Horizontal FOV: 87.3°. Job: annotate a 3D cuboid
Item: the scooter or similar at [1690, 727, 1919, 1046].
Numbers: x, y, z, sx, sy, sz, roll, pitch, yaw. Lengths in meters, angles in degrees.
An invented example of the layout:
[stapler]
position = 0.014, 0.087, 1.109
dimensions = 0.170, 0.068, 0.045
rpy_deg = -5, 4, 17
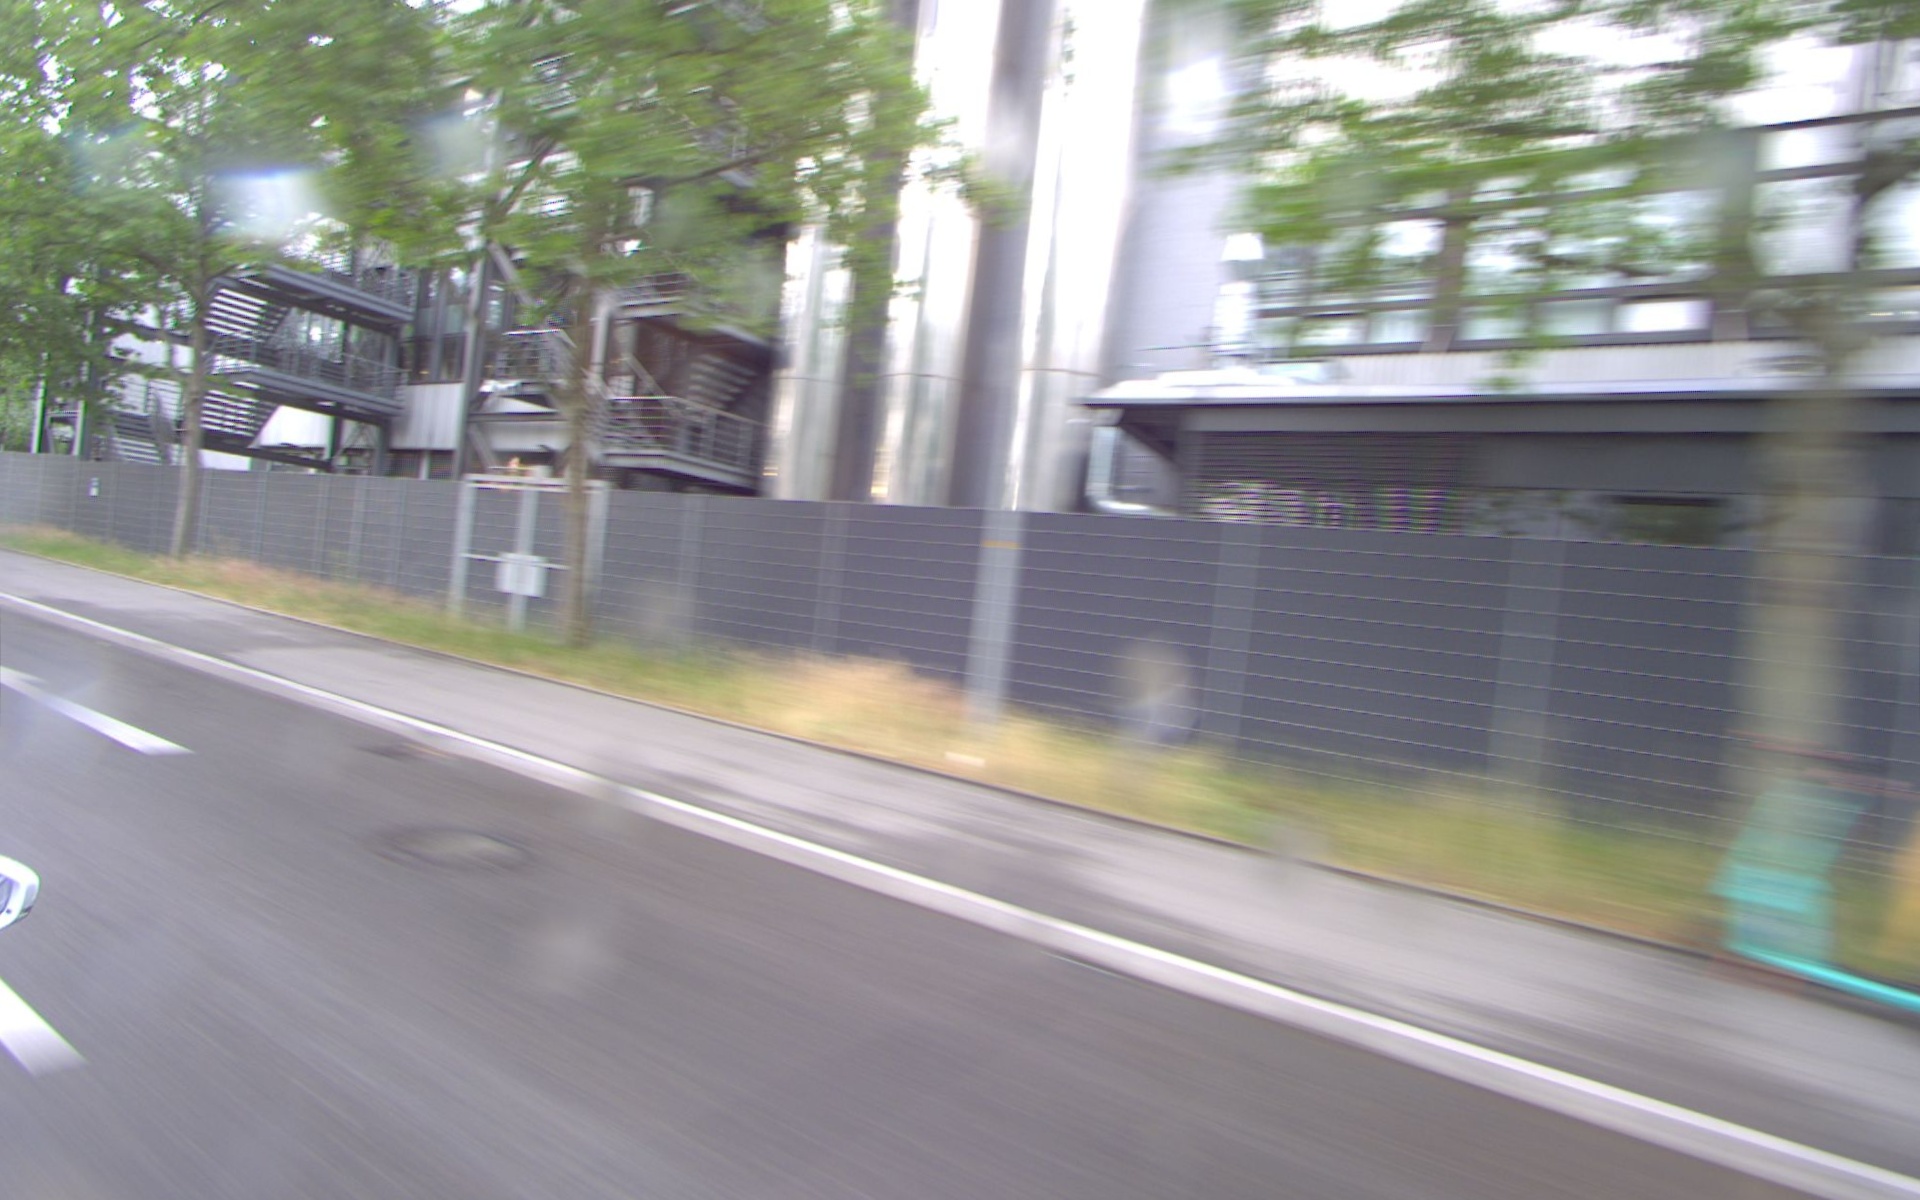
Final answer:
[scooter or similar]
position = 4.225, 1.334, 4.771
dimensions = 1.093, 1.285, 0.328
rpy_deg = 7, 1, 41
